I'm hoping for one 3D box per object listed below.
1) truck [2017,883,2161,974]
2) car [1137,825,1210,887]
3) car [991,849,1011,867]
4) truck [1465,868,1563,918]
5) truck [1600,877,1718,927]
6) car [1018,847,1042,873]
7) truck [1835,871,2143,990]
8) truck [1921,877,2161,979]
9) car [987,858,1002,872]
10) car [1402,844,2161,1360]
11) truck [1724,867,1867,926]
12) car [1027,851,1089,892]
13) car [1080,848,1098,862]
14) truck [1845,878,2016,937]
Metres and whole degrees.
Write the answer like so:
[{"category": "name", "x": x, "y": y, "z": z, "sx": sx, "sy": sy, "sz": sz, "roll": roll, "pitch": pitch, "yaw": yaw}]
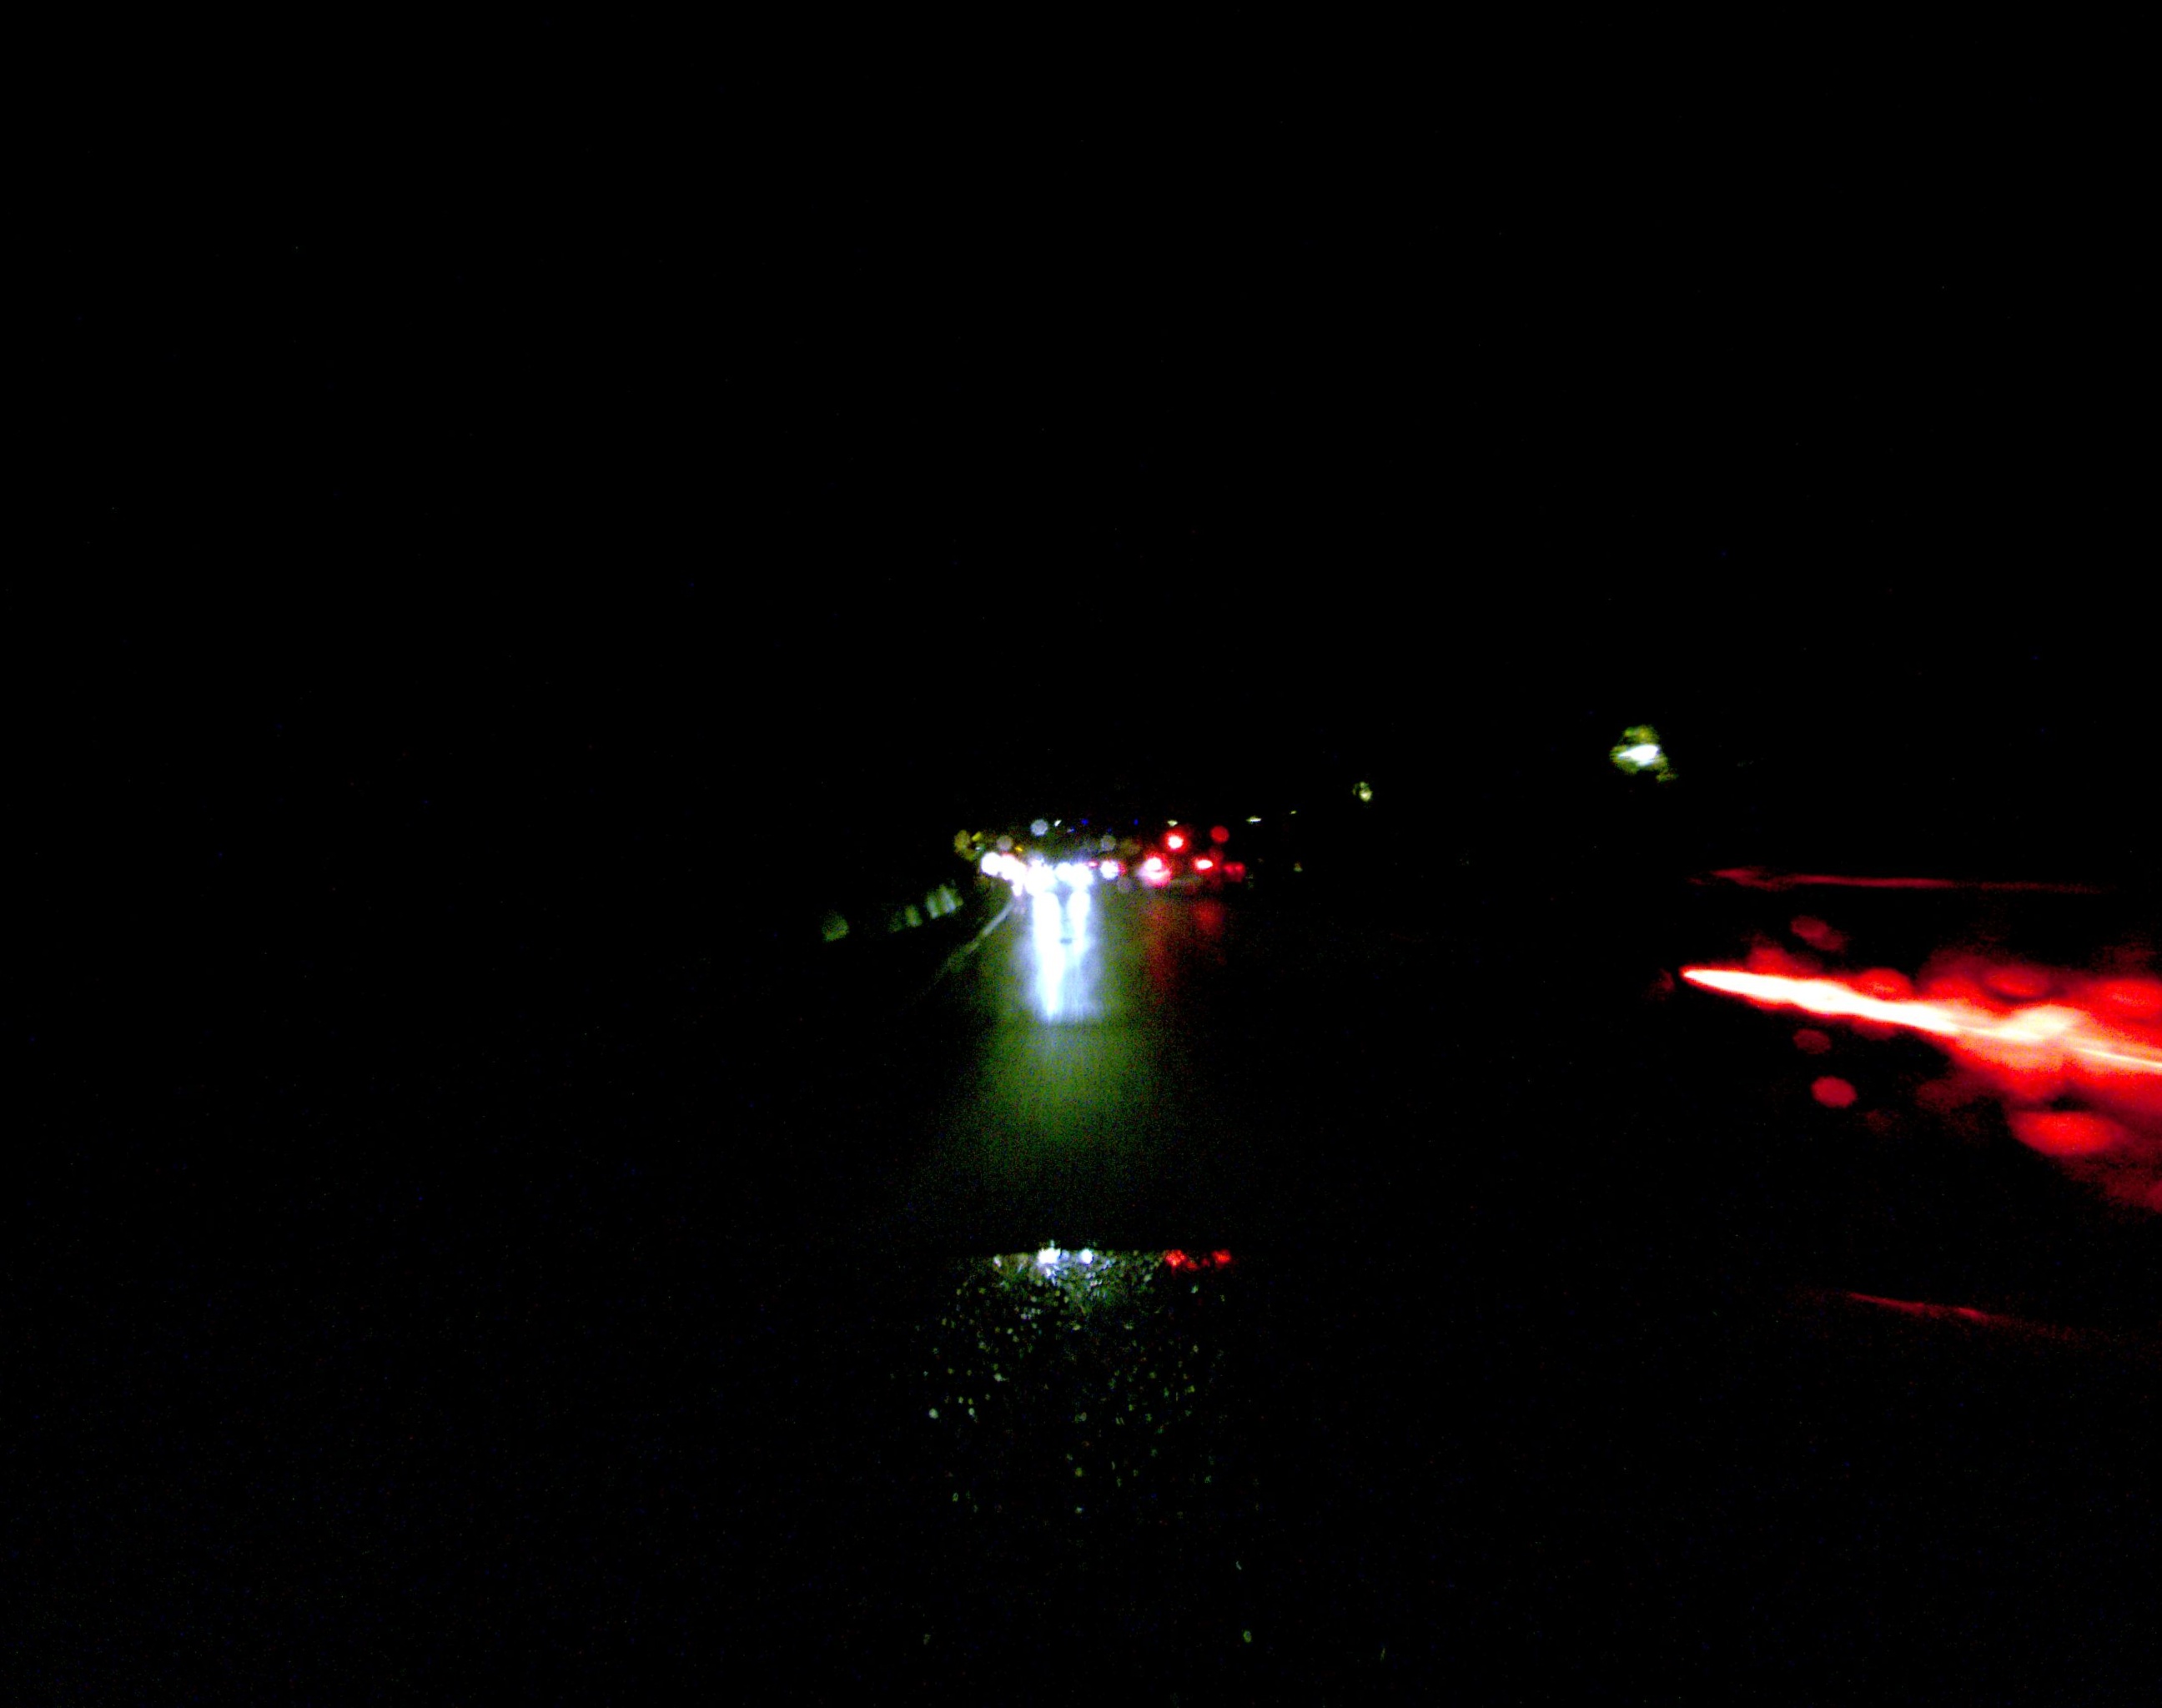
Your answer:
[{"category": "truck", "x": 42.666, "y": 3.066, "z": 29.807, "sx": 2.442, "sy": 3.242, "sz": 7.044, "roll": 4, "pitch": 1, "yaw": -8}, {"category": "car", "x": 3.276, "y": 0.056, "z": 27.773, "sx": 1.896, "sy": 1.991, "sz": 4.879, "roll": -2, "pitch": 1, "yaw": -1}, {"category": "car", "x": -8.308, "y": 0.394, "z": 78.774, "sx": 1.710, "sy": 1.762, "sz": 3.995, "roll": -2, "pitch": 1, "yaw": -11}, {"category": "truck", "x": 27.303, "y": 2.371, "z": 48.287, "sx": 2.173, "sy": 2.504, "sz": 6.869, "roll": 4, "pitch": 1, "yaw": 1}, {"category": "truck", "x": 36.511, "y": 2.943, "z": 48.365, "sx": 2.173, "sy": 2.504, "sz": 6.869, "roll": 4, "pitch": 1, "yaw": 1}, {"category": "car", "x": -4.285, "y": 0.459, "z": 63.523, "sx": 1.900, "sy": 2.002, "sz": 3.997, "roll": -2, "pitch": 1, "yaw": -5}, {"category": "truck", "x": 33.614, "y": 2.634, "z": 28.695, "sx": 2.474, "sy": 3.460, "sz": 7.045, "roll": 4, "pitch": 1, "yaw": -7}, {"category": "truck", "x": 38.161, "y": 2.744, "z": 29.522, "sx": 2.442, "sy": 3.080, "sz": 7.044, "roll": 4, "pitch": 1, "yaw": -8}, {"category": "car", "x": -12.965, "y": 1.640, "z": 113.676, "sx": 2.000, "sy": 2.002, "sz": 3.996, "roll": -2, "pitch": 1, "yaw": -8}, {"category": "car", "x": 3.560, "y": 0.675, "z": 4.305, "sx": 1.595, "sy": 1.372, "sz": 4.323, "roll": -2, "pitch": 1, "yaw": 0}, {"category": "truck", "x": 44.966, "y": 2.581, "z": 48.151, "sx": 2.174, "sy": 3.028, "sz": 6.691, "roll": 4, "pitch": 1, "yaw": -5}, {"category": "car", "x": -1.116, "y": 0.708, "z": 34.040, "sx": 2.000, "sy": 1.585, "sz": 4.603, "roll": -2, "pitch": 1, "yaw": -12}, {"category": "car", "x": 0.802, "y": 0.040, "z": 77.460, "sx": 1.639, "sy": 1.346, "sz": 4.141, "roll": -1, "pitch": 1, "yaw": -1}, {"category": "truck", "x": 51.748, "y": 3.164, "z": 46.625, "sx": 2.174, "sy": 2.788, "sz": 6.865, "roll": 4, "pitch": 1, "yaw": -5}]
